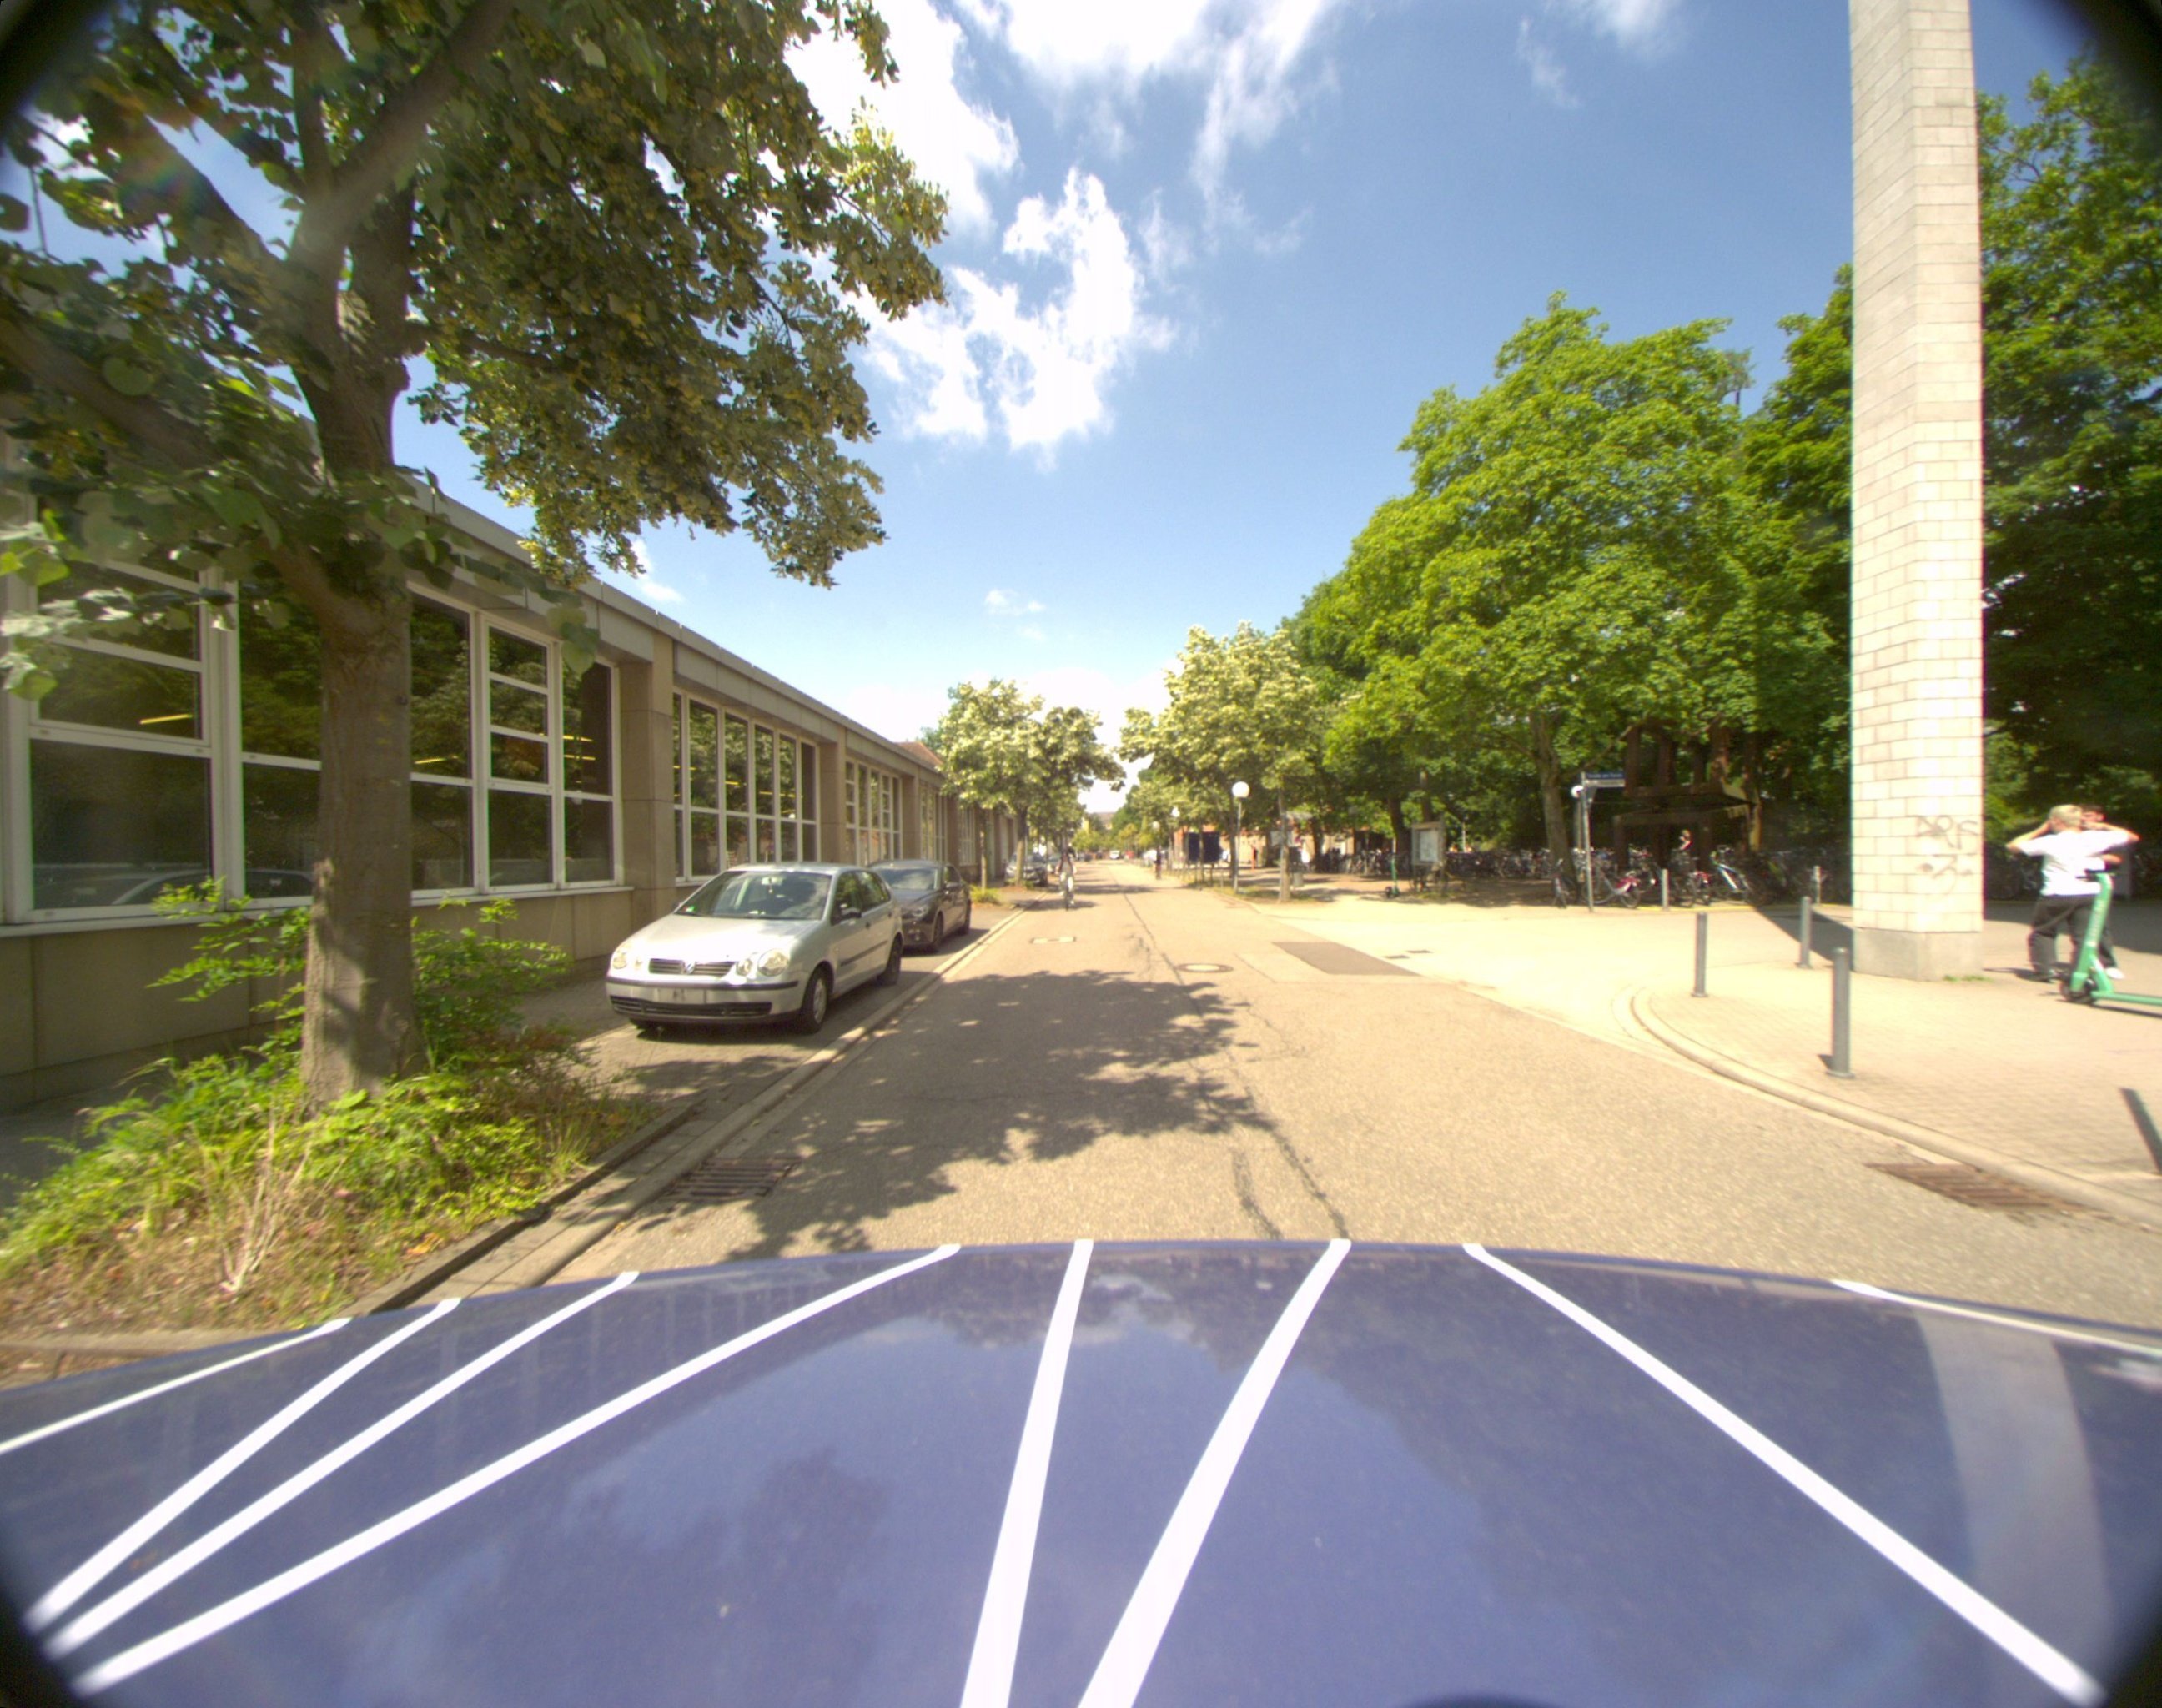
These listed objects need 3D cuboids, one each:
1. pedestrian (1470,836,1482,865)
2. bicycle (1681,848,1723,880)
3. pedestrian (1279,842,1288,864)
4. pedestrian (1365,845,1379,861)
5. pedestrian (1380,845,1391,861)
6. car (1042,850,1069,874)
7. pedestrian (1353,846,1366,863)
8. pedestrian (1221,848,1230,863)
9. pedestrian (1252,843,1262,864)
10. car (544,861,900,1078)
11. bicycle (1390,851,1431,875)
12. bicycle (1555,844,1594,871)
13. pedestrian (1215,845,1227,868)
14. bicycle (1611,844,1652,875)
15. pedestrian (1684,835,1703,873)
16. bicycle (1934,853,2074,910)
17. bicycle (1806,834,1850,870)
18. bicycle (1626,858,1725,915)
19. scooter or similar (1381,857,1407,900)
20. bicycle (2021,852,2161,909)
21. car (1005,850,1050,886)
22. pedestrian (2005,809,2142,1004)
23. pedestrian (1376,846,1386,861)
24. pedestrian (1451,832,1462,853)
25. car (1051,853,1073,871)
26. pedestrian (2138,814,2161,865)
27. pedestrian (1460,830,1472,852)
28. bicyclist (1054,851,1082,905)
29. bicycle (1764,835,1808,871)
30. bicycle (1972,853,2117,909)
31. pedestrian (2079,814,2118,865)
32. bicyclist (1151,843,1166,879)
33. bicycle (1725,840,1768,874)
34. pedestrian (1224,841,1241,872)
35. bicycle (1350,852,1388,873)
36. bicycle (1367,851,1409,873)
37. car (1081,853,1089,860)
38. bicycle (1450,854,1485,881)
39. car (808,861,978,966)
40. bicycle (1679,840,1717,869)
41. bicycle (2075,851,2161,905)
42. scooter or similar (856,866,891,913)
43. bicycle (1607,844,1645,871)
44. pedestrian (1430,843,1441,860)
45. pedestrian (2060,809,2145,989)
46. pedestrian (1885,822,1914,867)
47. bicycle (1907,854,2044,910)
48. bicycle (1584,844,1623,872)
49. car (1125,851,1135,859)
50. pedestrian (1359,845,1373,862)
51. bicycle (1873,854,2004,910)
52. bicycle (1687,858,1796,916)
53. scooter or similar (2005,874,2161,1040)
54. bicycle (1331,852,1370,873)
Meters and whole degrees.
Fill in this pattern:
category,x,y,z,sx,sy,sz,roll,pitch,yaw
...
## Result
category,x,y,z,sx,sy,sz,roll,pitch,yaw
pedestrian,22.705,-0.198,43.674,0.462,1.605,0.350,-2,1,-21
bicycle,24.053,0.377,29.435,2.063,1.126,0.638,-4,1,-33
pedestrian,17.238,-0.111,64.748,0.530,1.837,0.806,-2,1,2
pedestrian,22.787,-0.071,59.494,0.596,1.226,0.741,-2,-1,-33
pedestrian,24.532,-0.066,61.272,0.561,1.264,0.693,-2,1,2
car,-1.698,0.536,52.194,1.708,1.565,4.140,0,0,0
pedestrian,22.066,0.046,60.190,0.596,1.361,0.741,-2,-1,-33
pedestrian,14.567,0.128,76.756,0.744,1.500,0.499,-2,1,2
pedestrian,14.631,-0.033,63.203,0.632,1.656,0.643,-2,1,2
car,-3.145,0.891,7.594,1.620,1.530,3.780,-1,0,2
bicycle,15.518,0.421,35.767,2.656,1.002,0.676,-2,1,-41
bicycle,21.792,0.156,33.544,2.064,1.126,0.638,-2,0,-33
pedestrian,12.457,0.201,67.467,0.919,1.943,0.893,-3,1,11
bicycle,22.935,0.208,31.652,2.063,1.126,0.638,-5,2,-33
pedestrian,27.982,0.002,34.699,0.413,1.704,0.543,-3,1,-29
bicycle,19.328,0.545,15.984,0.553,1.080,1.973,-3,0,2
bicycle,26.049,-0.076,26.479,2.063,1.126,0.638,-5,2,-33
bicycle,12.486,0.651,16.050,0.553,1.080,1.973,-3,0,2
scooter or similar,9.015,0.688,21.873,0.339,1.169,1.331,-1,1,37
bicycle,21.047,0.524,15.813,0.553,1.080,1.973,-3,0,2
car,-2.506,0.621,36.596,1.827,1.654,4.583,0,0,0
pedestrian,9.607,0.475,7.366,0.638,1.765,0.735,-2,1,-31
pedestrian,24.572,-0.035,62.245,0.561,1.264,0.693,-2,1,2
pedestrian,26.017,-0.814,52.651,0.507,1.414,0.460,-2,1,-8
car,-1.530,0.622,63.085,1.730,1.458,4.671,0,0,0
pedestrian,35.479,-0.484,25.043,0.557,1.661,0.702,-3,1,-34
pedestrian,26.763,-0.874,52.808,0.507,1.513,0.473,-2,1,-9
bicyclist,-0.358,0.674,21.664,0.675,1.470,1.062,-1,2,3
bicycle,25.400,-0.030,27.371,2.063,1.126,0.673,-5,2,-33
bicycle,20.267,0.527,16.053,0.553,1.080,1.973,-3,0,2
pedestrian,34.194,-0.485,25.537,0.633,1.661,0.728,-3,1,-34
bicyclist,4.465,0.398,43.903,0.713,2.002,1.018,0,1,-1
bicycle,24.700,0.101,28.184,2.063,1.126,0.638,-5,2,-33
pedestrian,9.143,0.176,45.878,0.801,1.820,0.987,-2,0,2
bicycle,14.469,0.434,38.165,1.894,1.002,0.676,-2,1,-28
bicycle,14.980,0.389,37.024,2.157,1.002,0.676,-2,1,-29
car,0.735,0.434,151.608,1.552,1.377,3.454,-1,0,0
bicycle,18.575,0.656,36.482,2.063,1.126,0.478,-5,2,-33
car,-3.070,0.895,13.391,1.785,1.468,4.462,0,0,1
bicycle,25.876,0.027,31.848,2.064,1.126,0.638,-2,0,-33
bicycle,22.414,0.497,15.938,0.553,1.080,1.973,-3,0,2
scooter or similar,-5.752,0.971,21.147,0.512,1.242,1.486,0,1,2
bicycle,24.411,0.151,34.012,2.064,1.126,0.638,-2,0,-33
pedestrian,26.055,-0.179,55.866,0.392,1.187,0.730,-2,1,-8
pedestrian,10.445,0.441,7.772,0.443,1.765,0.450,-2,1,-29
pedestrian,30.560,-0.362,28.383,0.578,1.661,0.629,-3,1,-34
bicycle,18.714,0.555,15.974,0.553,1.080,1.973,-3,0,2
bicycle,22.406,0.158,32.573,2.064,1.126,0.638,-2,0,-33
car,11.611,0.316,180.842,1.912,1.870,4.003,-1,0,8
pedestrian,22.203,-0.050,59.213,0.596,1.226,0.741,-2,-1,-33
bicycle,18.139,0.557,16.145,0.553,1.080,1.973,-3,0,2
bicycle,13.594,0.645,15.724,0.553,1.080,1.973,-3,0,2
scooter or similar,8.493,0.802,6.063,0.455,1.216,1.549,-1,1,5
bicycle,13.903,0.426,39.157,2.157,1.002,0.676,-2,1,-31
